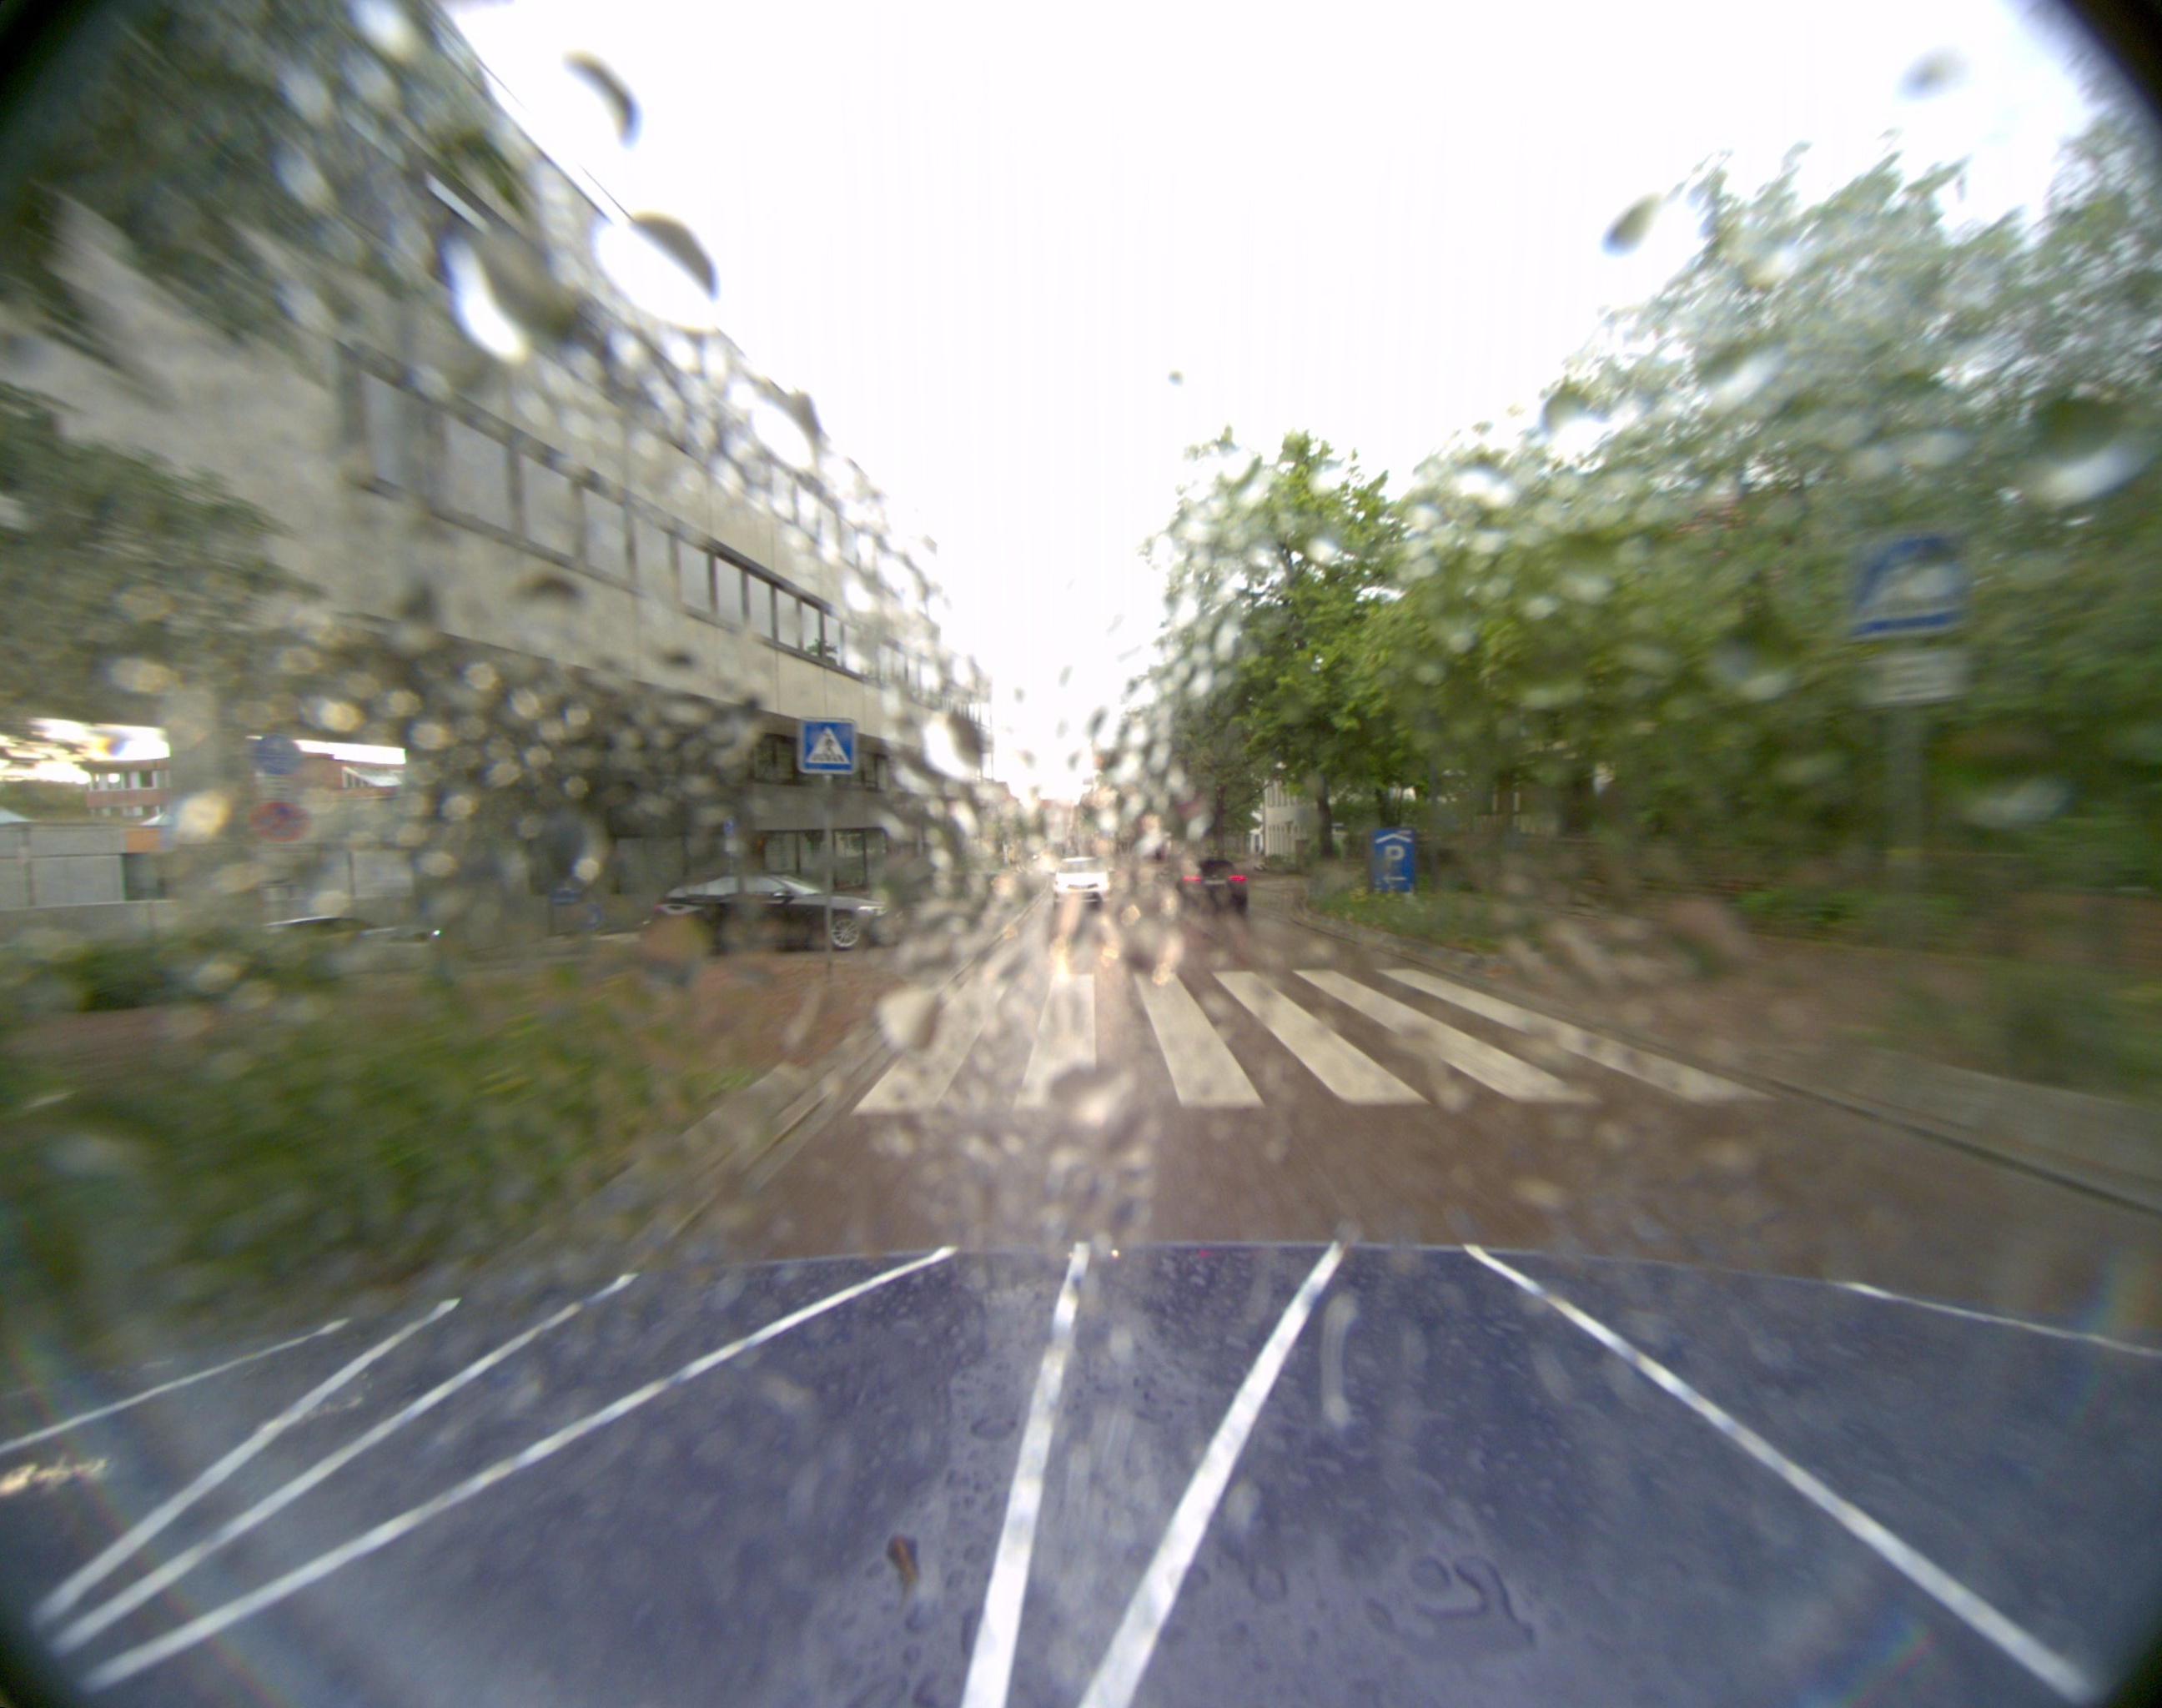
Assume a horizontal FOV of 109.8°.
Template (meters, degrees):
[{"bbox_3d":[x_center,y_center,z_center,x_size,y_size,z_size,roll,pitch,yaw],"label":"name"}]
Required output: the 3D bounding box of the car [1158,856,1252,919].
[{"bbox_3d":[3.189,0.816,20.456,1.860,1.377,4.408,-3,0,2],"label":"car"}]

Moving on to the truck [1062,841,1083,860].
[{"bbox_3d":[-1.341,-0.480,114.511,2.407,2.579,6.479,-2,-1,-8],"label":"truck"}]

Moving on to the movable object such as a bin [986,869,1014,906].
[{"bbox_3d":[-2.554,1.045,24.004,0.704,1.118,0.572,0,2,16],"label":"movable object such as a bin"}]

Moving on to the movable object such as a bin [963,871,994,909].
[{"bbox_3d":[-3.037,1.062,22.594,0.704,1.104,0.572,0,2,26],"label":"movable object such as a bin"}]

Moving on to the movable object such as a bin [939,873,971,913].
[{"bbox_3d":[-3.660,1.114,22.057,0.704,1.096,0.572,1,3,44],"label":"movable object such as a bin"}]

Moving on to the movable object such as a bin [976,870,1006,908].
[{"bbox_3d":[-2.741,1.060,23.194,0.704,1.101,0.572,0,2,27],"label":"movable object such as a bin"}]

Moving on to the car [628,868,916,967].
[{"bbox_3d":[-5.313,1.065,13.509,4.294,1.408,1.840,-3,0,0],"label":"car"}]

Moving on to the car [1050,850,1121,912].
[{"bbox_3d":[0.041,0.739,23.510,1.868,1.578,4.612,-3,2,-3],"label":"car"}]

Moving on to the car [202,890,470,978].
[{"bbox_3d":[-14.631,1.558,15.016,3.994,1.434,1.745,-2,2,11],"label":"car"}]

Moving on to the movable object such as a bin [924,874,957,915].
[{"bbox_3d":[-3.947,1.119,21.323,0.704,1.096,0.572,1,3,44],"label":"movable object such as a bin"}]
